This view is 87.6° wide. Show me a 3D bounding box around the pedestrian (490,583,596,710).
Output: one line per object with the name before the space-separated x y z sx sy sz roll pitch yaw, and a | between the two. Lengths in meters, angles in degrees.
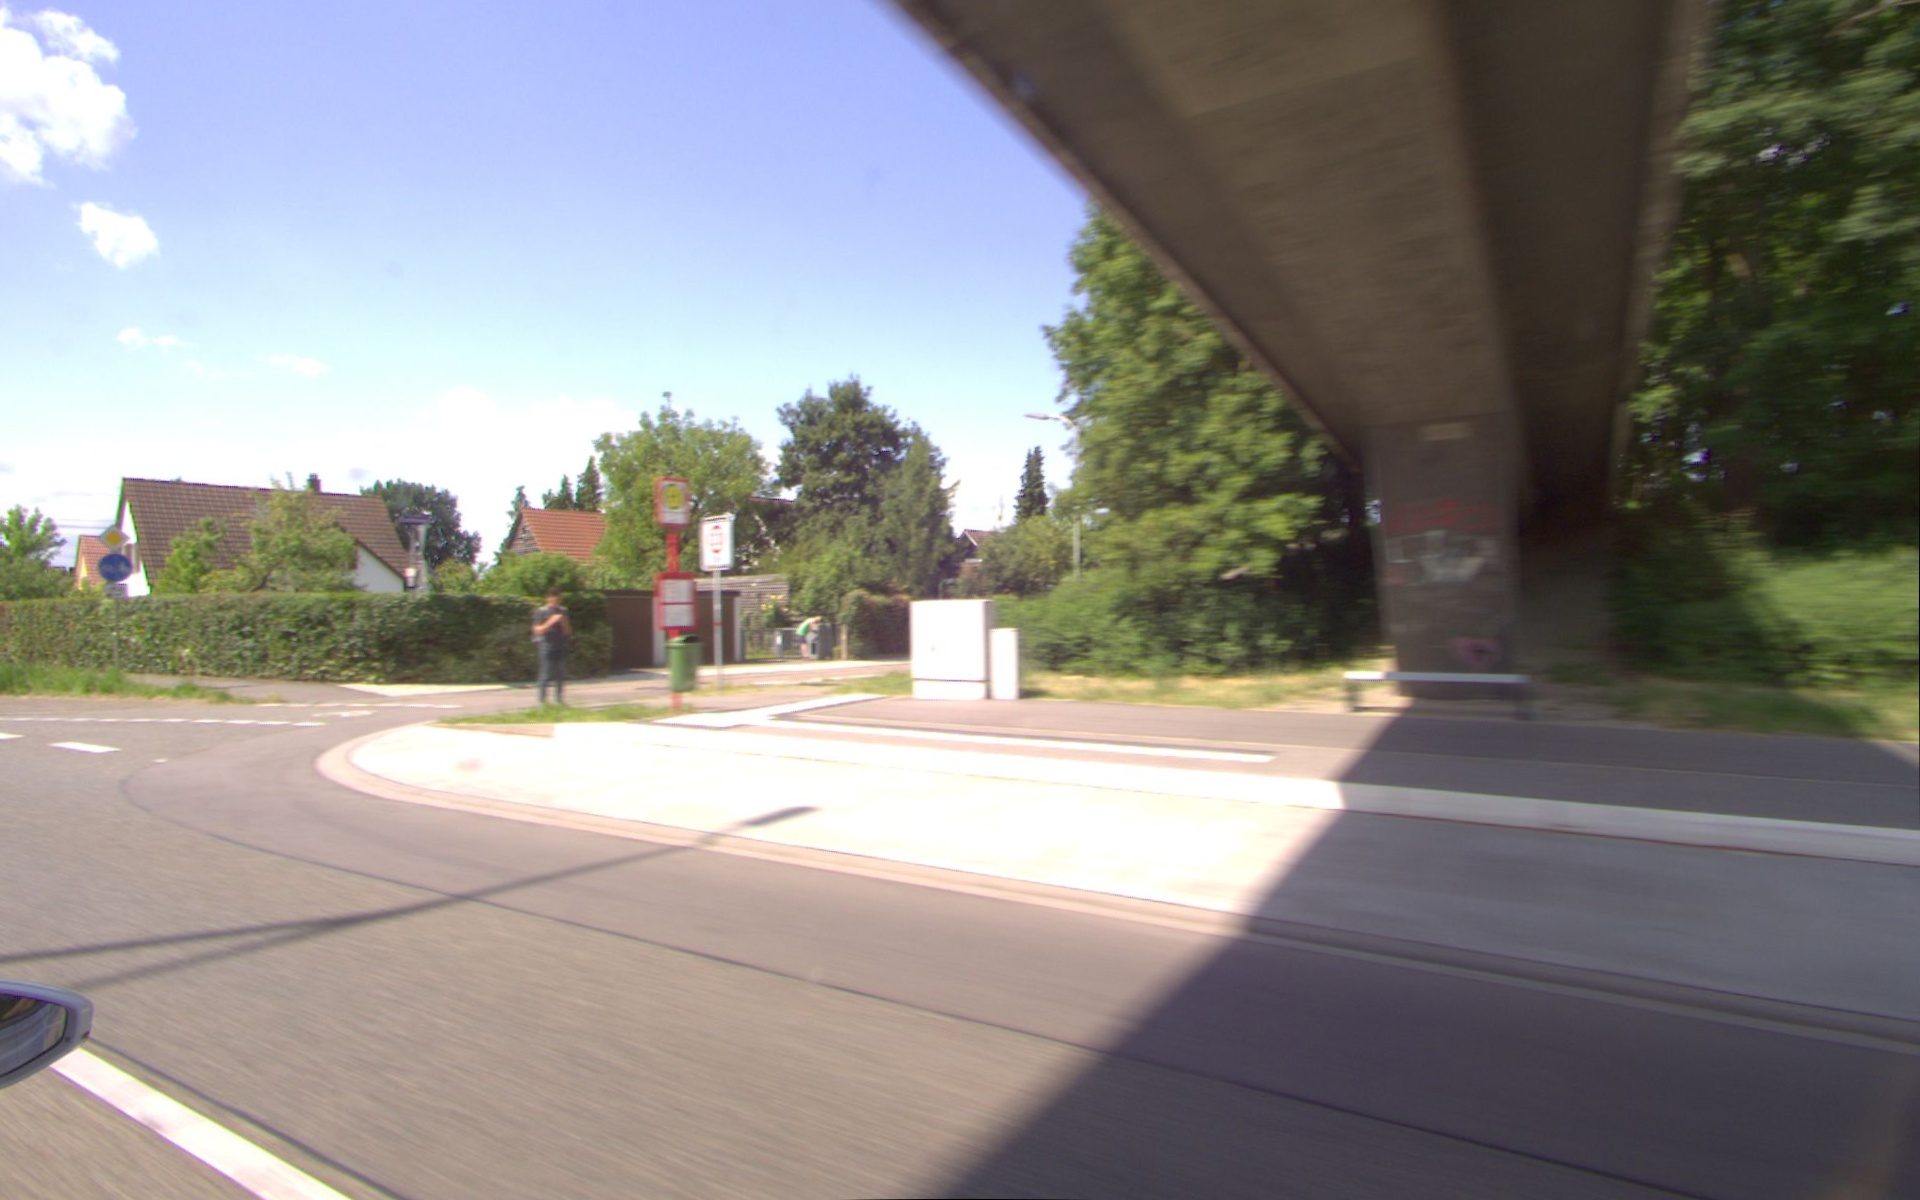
pedestrian | -6.335 0.701 15.224 1.072 1.848 0.952 -3 0 31

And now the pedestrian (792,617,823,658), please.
pedestrian | -4.877 1.191 32.021 0.909 1.317 0.636 0 0 -4
